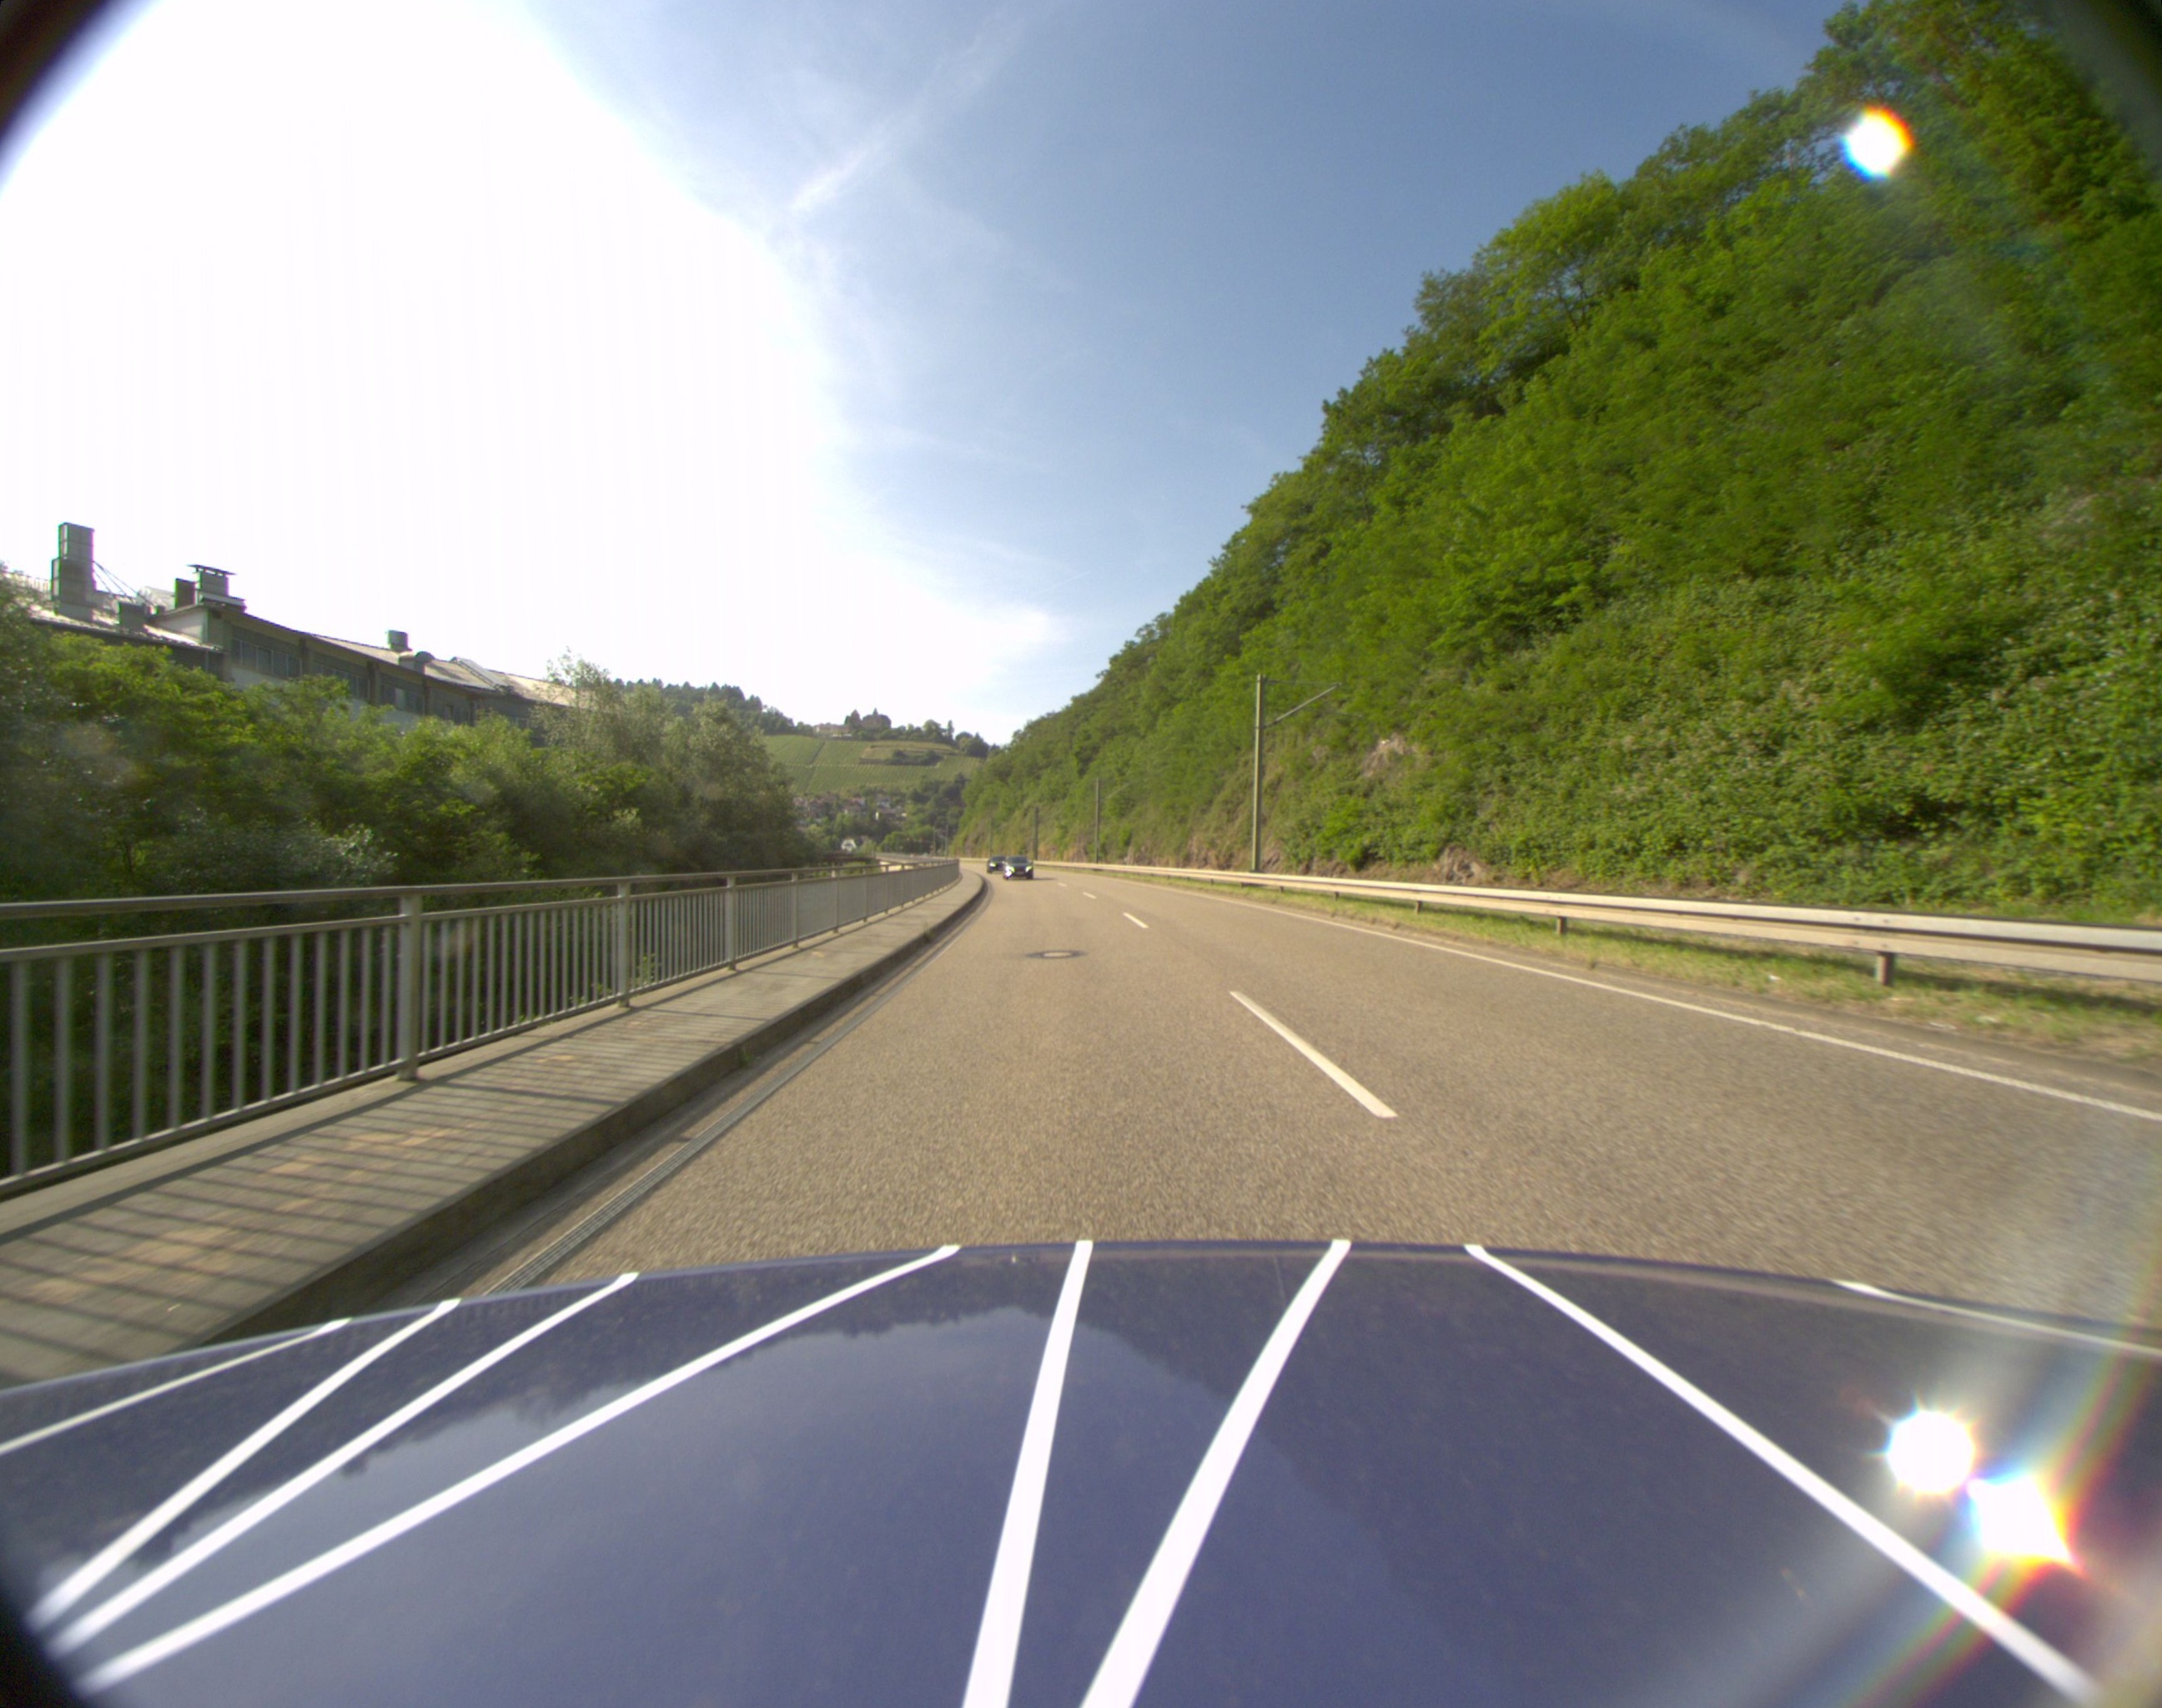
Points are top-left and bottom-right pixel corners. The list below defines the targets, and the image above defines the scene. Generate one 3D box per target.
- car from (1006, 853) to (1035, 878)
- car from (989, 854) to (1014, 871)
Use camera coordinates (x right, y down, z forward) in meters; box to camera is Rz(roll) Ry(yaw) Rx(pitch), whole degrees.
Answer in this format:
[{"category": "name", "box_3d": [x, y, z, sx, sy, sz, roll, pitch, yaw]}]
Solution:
[{"category": "car", "box_3d": [-4.163, 0.763, 51.855, 1.864, 1.576, 3.997, 0, 1, -6]}, {"category": "car", "box_3d": [-7.316, 0.762, 69.599, 2.000, 1.384, 3.997, 3, -1, -9]}]
